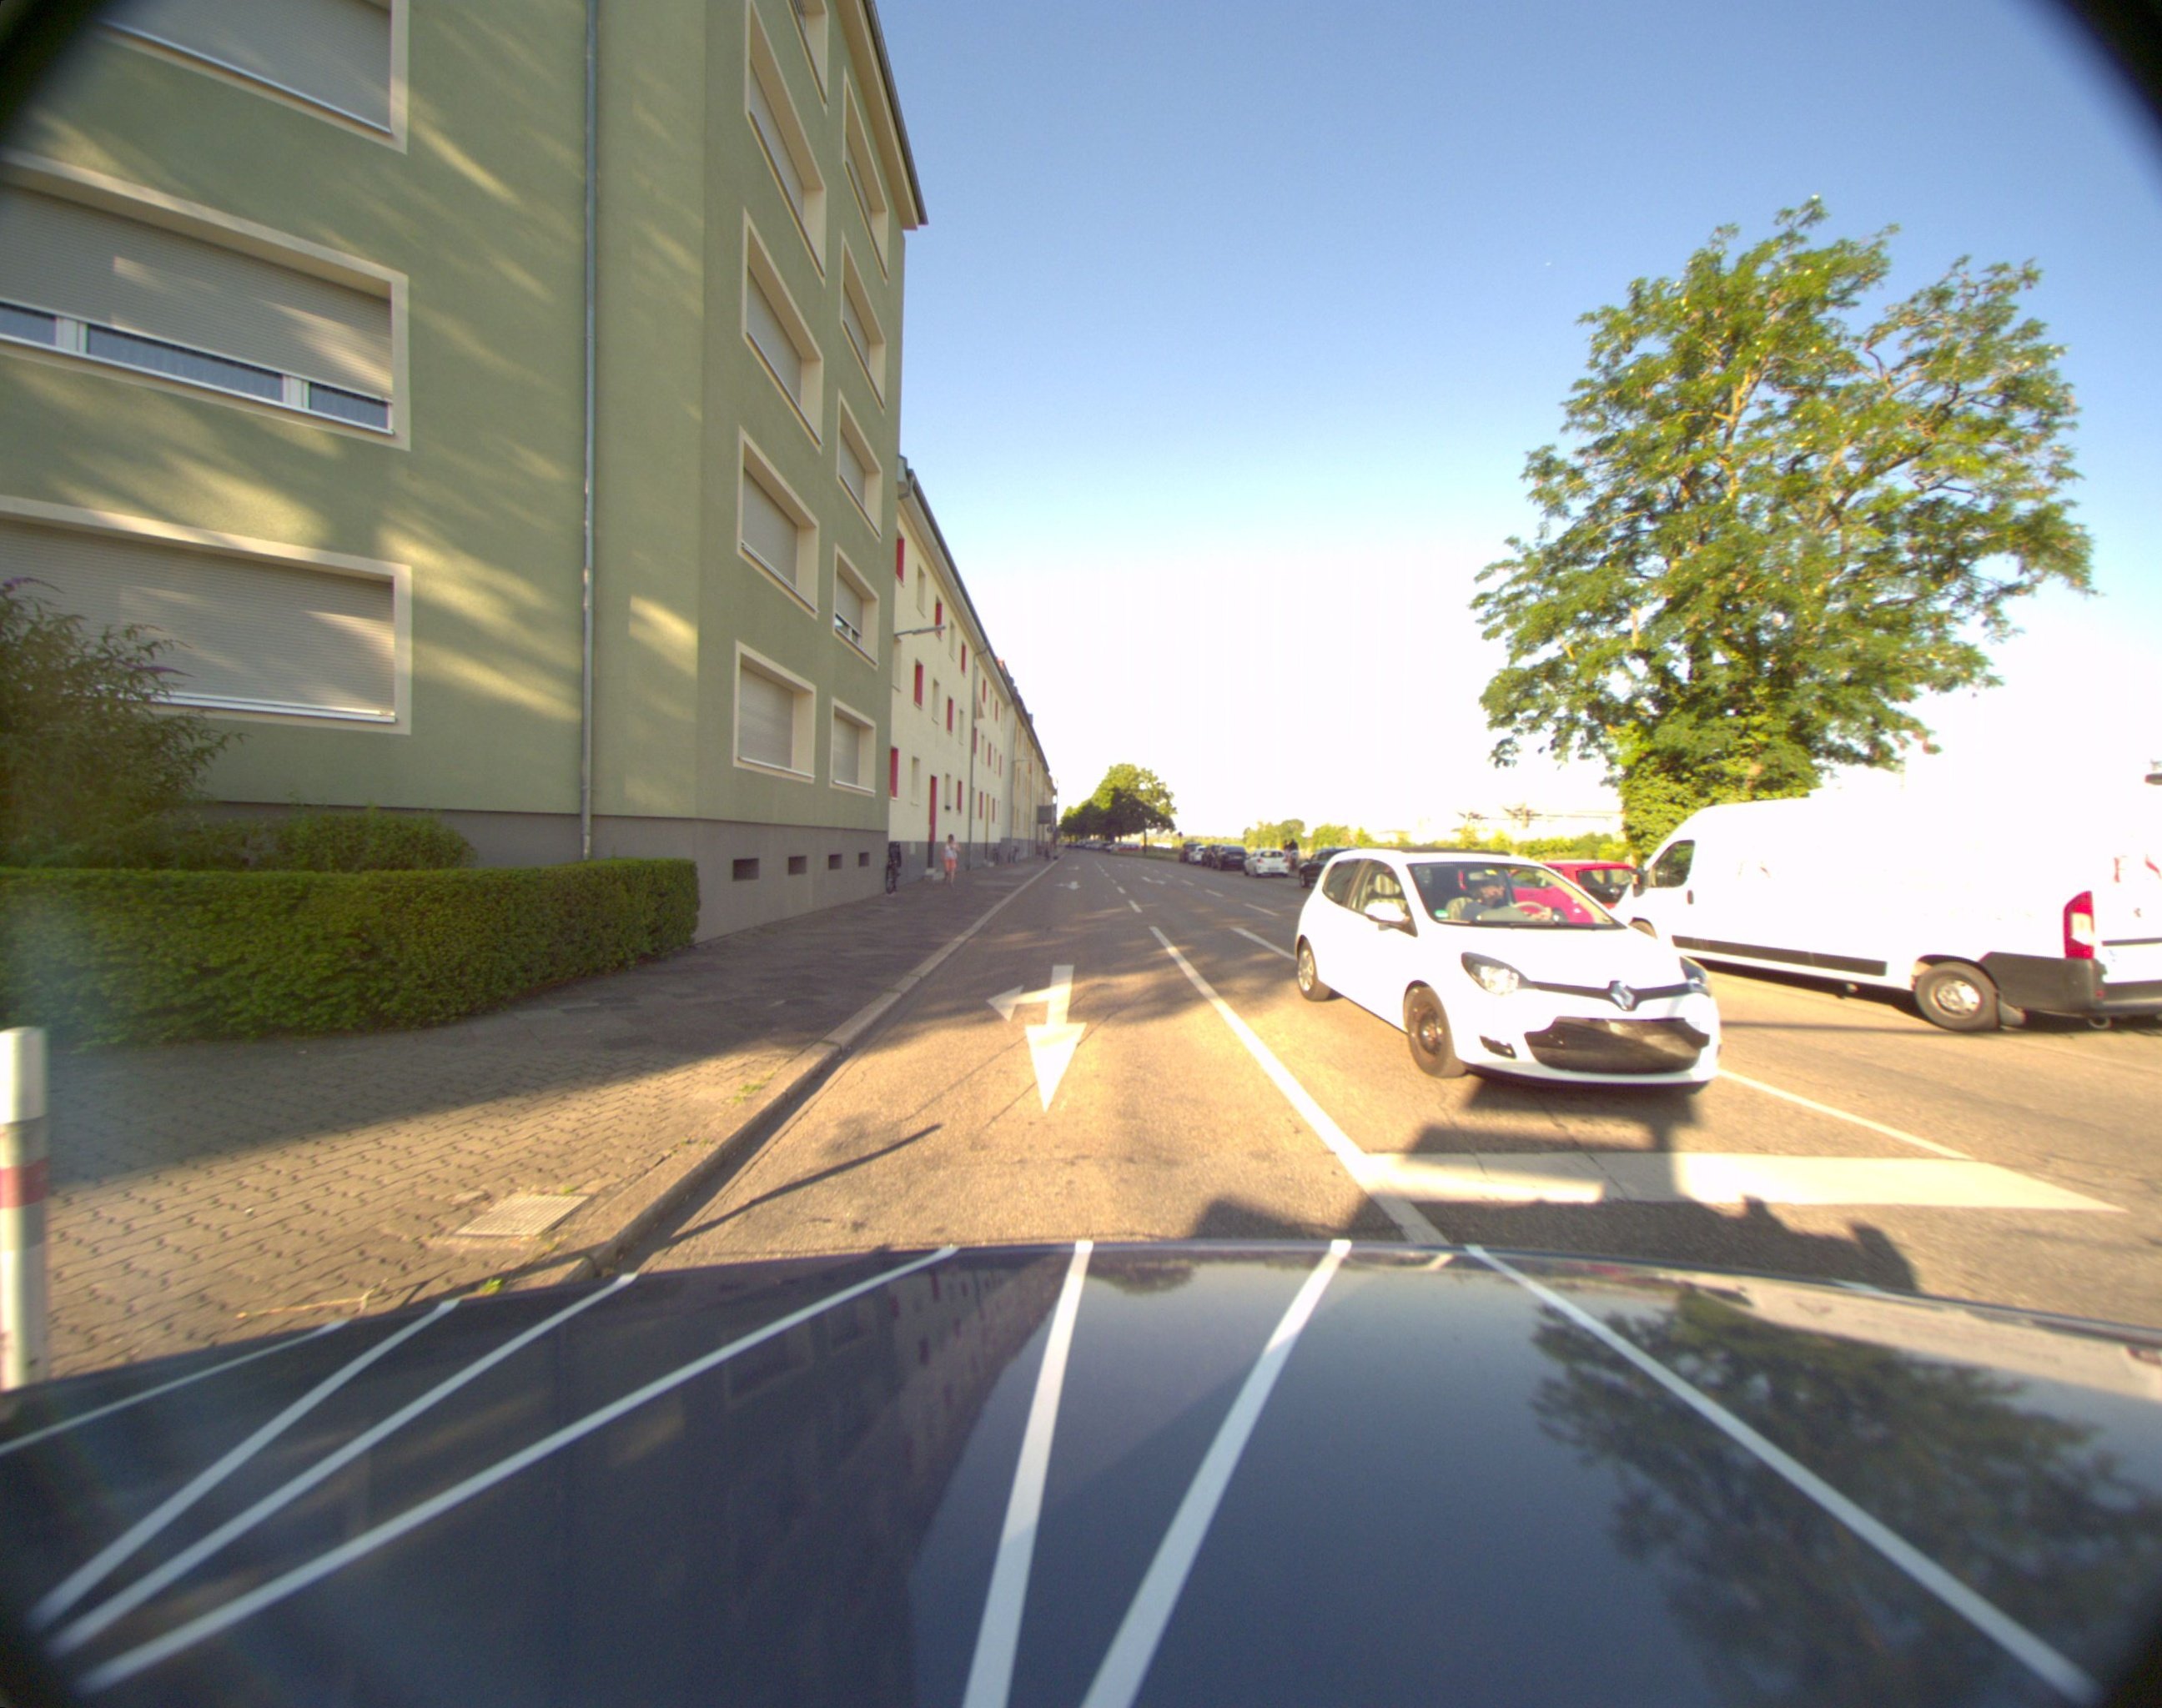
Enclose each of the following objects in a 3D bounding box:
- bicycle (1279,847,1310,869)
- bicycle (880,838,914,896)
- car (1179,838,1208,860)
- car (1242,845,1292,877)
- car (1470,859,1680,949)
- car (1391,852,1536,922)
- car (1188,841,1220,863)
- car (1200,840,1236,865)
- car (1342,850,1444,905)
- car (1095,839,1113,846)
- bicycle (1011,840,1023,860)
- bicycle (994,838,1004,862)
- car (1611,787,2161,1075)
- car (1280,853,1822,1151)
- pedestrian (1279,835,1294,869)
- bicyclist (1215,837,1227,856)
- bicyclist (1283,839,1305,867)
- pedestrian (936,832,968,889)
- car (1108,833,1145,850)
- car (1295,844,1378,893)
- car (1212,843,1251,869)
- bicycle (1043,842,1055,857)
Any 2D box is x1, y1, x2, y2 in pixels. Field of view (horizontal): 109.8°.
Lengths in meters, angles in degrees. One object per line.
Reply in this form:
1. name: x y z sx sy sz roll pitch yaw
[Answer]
1. bicycle: 12.262 0.237 43.775 0.940 1.182 2.481 1 1 -3
2. bicycle: -4.682 0.300 19.437 0.517 1.404 1.872 1 1 -4
3. car: 9.602 -0.434 65.363 1.891 1.766 4.219 1 1 1
4. car: 9.595 0.321 39.459 1.706 1.517 3.582 1 1 0
5. car: 9.793 0.911 15.443 1.745 1.478 3.693 1 1 -1
6. car: 9.796 0.777 19.811 1.745 1.521 3.815 1 1 -1
7. car: 9.586 -0.169 59.481 1.824 1.565 4.219 1 1 1
8. car: 9.701 -0.120 54.091 1.824 1.628 4.219 1 1 1
9. car: 9.792 0.675 24.126 1.664 1.521 3.578 1 1 -1
10. car: 5.267 -2.713 177.428 3.998 1.708 1.999 1 1 -2
11. bicycle: -4.232 -0.272 50.378 0.517 1.318 2.209 1 1 1
12. bicycle: -4.891 -0.252 45.431 0.517 1.404 1.872 1 1 -4
13. car: 9.551 0.567 9.209 2.235 2.423 5.558 -1 2 -2
14. car: 2.951 0.782 5.853 1.705 1.460 3.774 1 1 -2
15. pedestrian: 12.497 -0.116 46.202 0.615 2.002 0.730 1 2 -3
16. bicyclist: 11.788 -0.613 63.784 0.768 1.588 1.146 1 2 1
17. bicyclist: 12.287 -0.085 43.790 0.866 1.588 1.145 1 2 -2
18. pedestrian: -3.951 0.184 23.245 0.787 1.697 0.949 1 2 -1
19. car: 6.964 -1.954 116.548 5.322 2.398 2.265 -2 2 -1
20. car: 9.567 0.499 28.740 1.664 1.650 4.004 1 1 -1
21. car: 9.554 0.090 48.390 1.823 1.517 4.290 2 1 3
22. bicycle: -2.554 -0.365 60.951 0.651 1.091 2.200 1 1 -9
